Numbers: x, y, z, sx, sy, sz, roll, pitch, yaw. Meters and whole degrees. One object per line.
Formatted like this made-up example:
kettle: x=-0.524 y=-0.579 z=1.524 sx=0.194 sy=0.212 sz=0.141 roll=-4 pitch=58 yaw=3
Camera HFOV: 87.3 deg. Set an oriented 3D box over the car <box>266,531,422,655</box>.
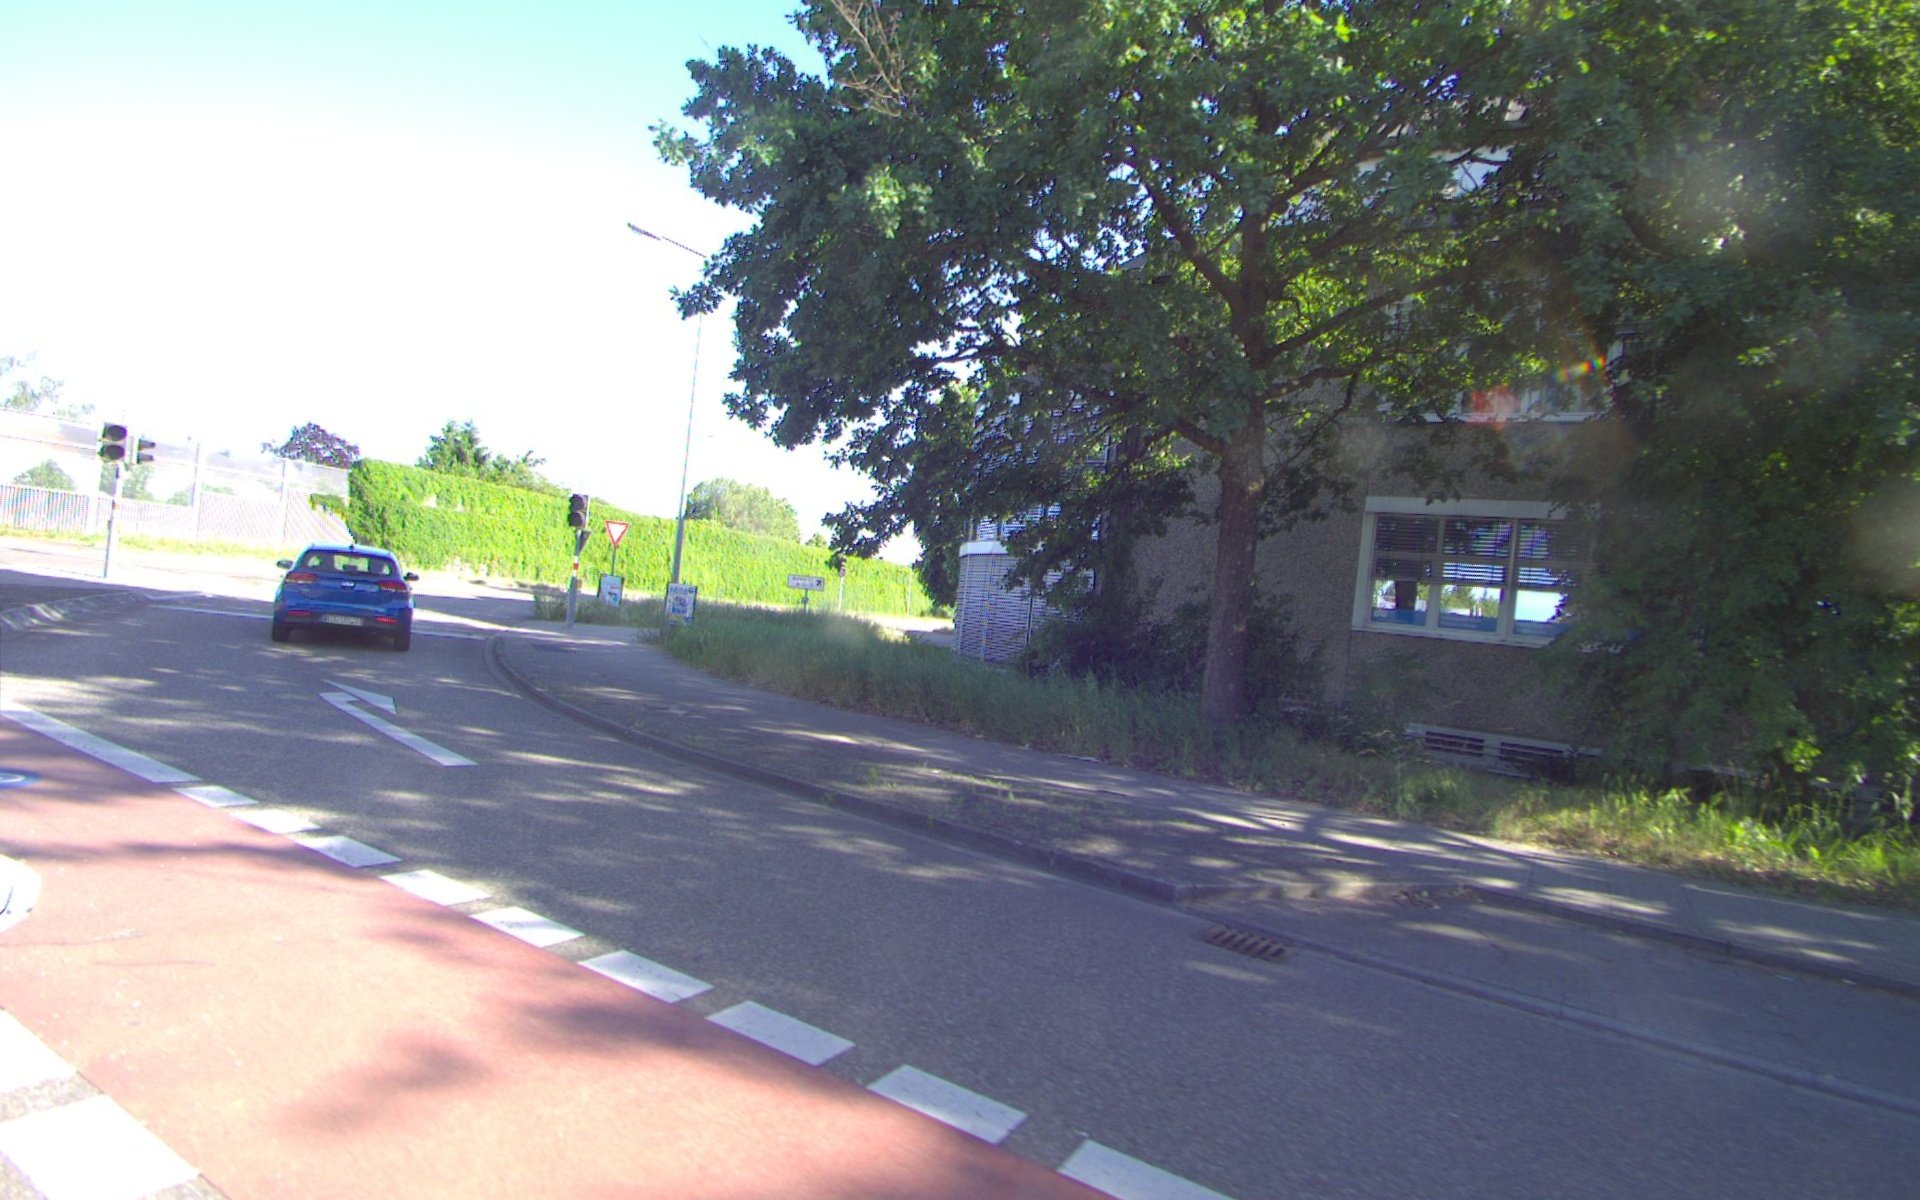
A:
car: x=-9.485 y=-0.176 z=15.494 sx=1.720 sy=1.458 sz=3.759 roll=7 pitch=1 yaw=-33
